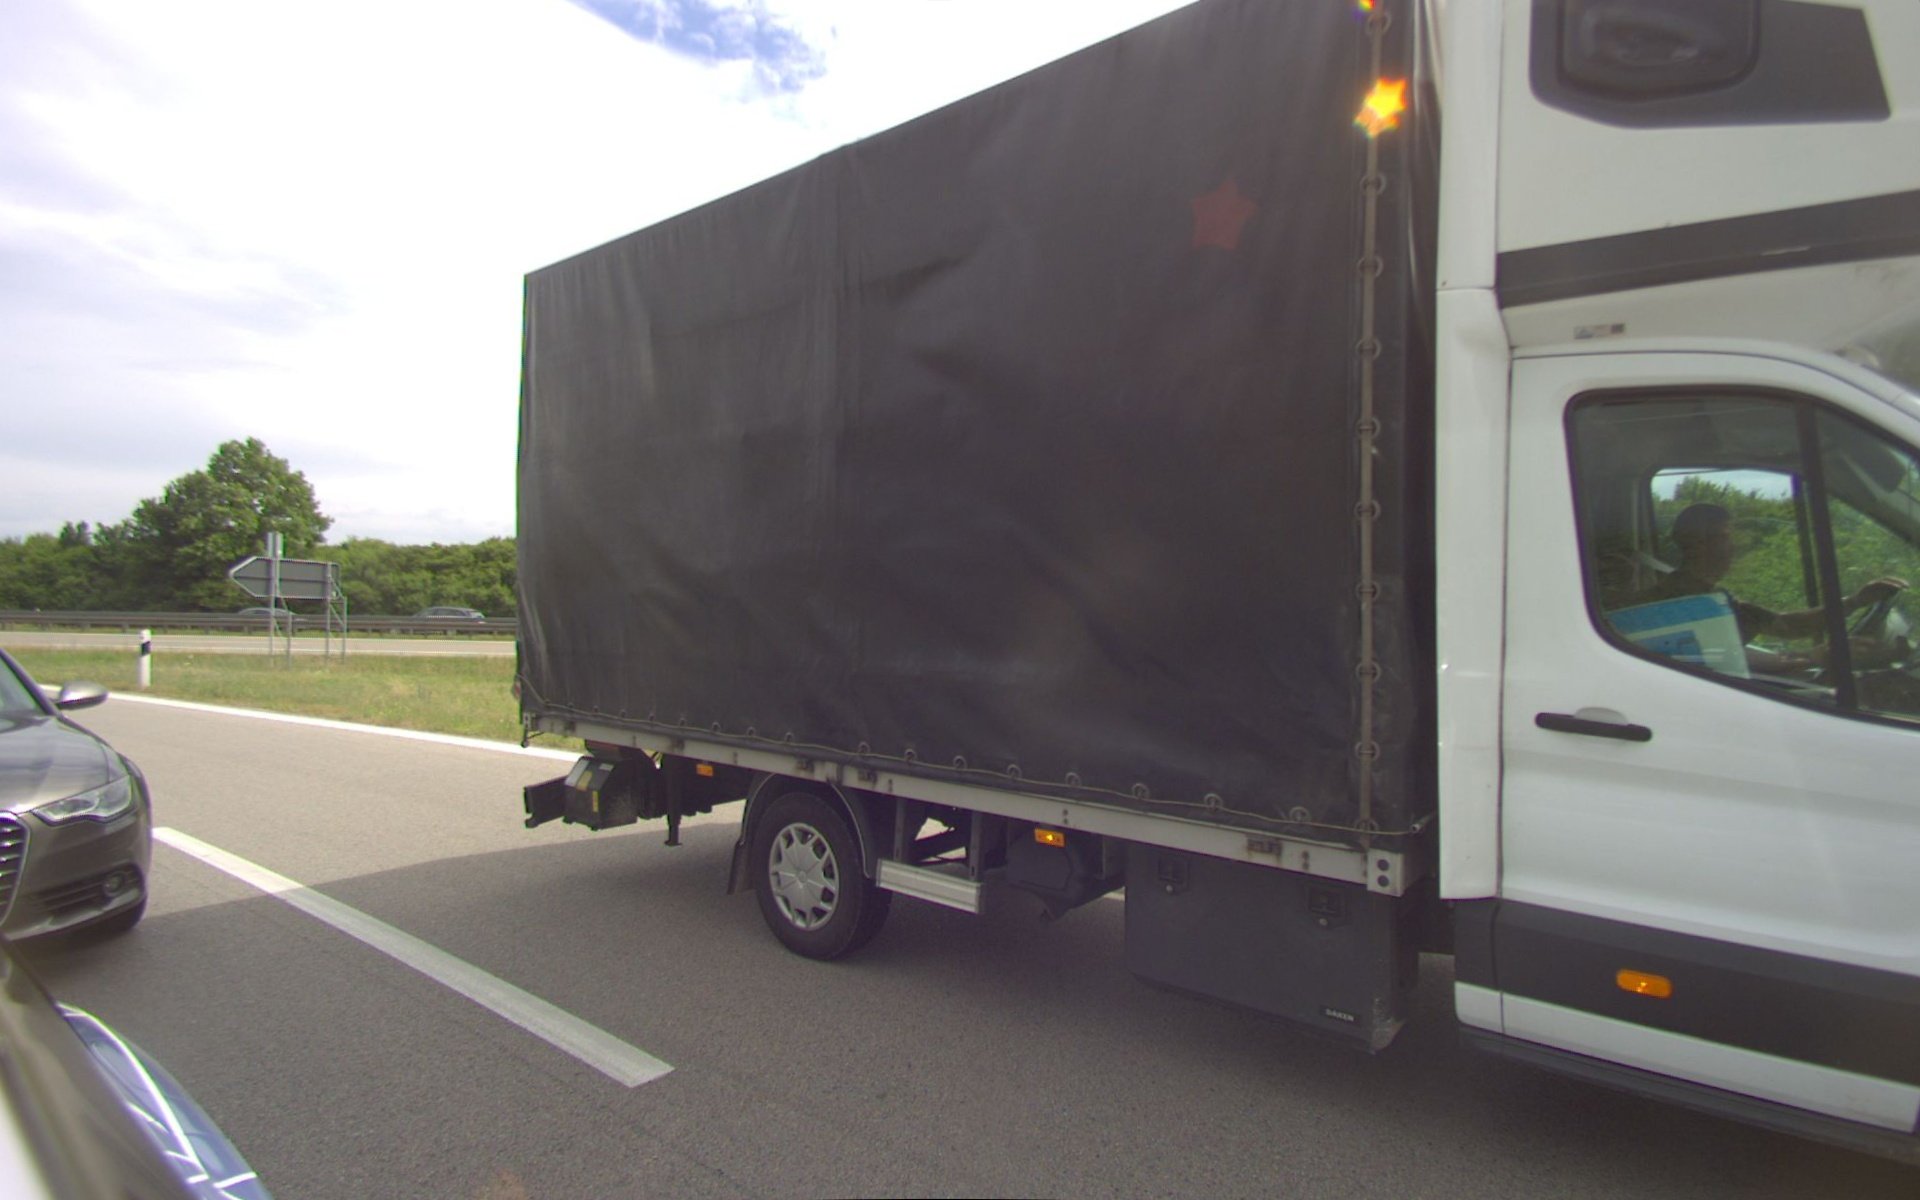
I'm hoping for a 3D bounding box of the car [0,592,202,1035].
[{"bbox_3d":[-5.311,0.765,4.634,4.534,1.526,1.973,-1,-1,40],"label":"car"}]

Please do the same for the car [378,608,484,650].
[{"bbox_3d":[-24.918,1.368,47.749,4.156,1.887,1.841,-1,0,7],"label":"car"}]

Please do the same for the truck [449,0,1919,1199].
[{"bbox_3d":[0.919,-0.187,4.056,7.461,3.191,2.535,-1,0,40],"label":"truck"}]
